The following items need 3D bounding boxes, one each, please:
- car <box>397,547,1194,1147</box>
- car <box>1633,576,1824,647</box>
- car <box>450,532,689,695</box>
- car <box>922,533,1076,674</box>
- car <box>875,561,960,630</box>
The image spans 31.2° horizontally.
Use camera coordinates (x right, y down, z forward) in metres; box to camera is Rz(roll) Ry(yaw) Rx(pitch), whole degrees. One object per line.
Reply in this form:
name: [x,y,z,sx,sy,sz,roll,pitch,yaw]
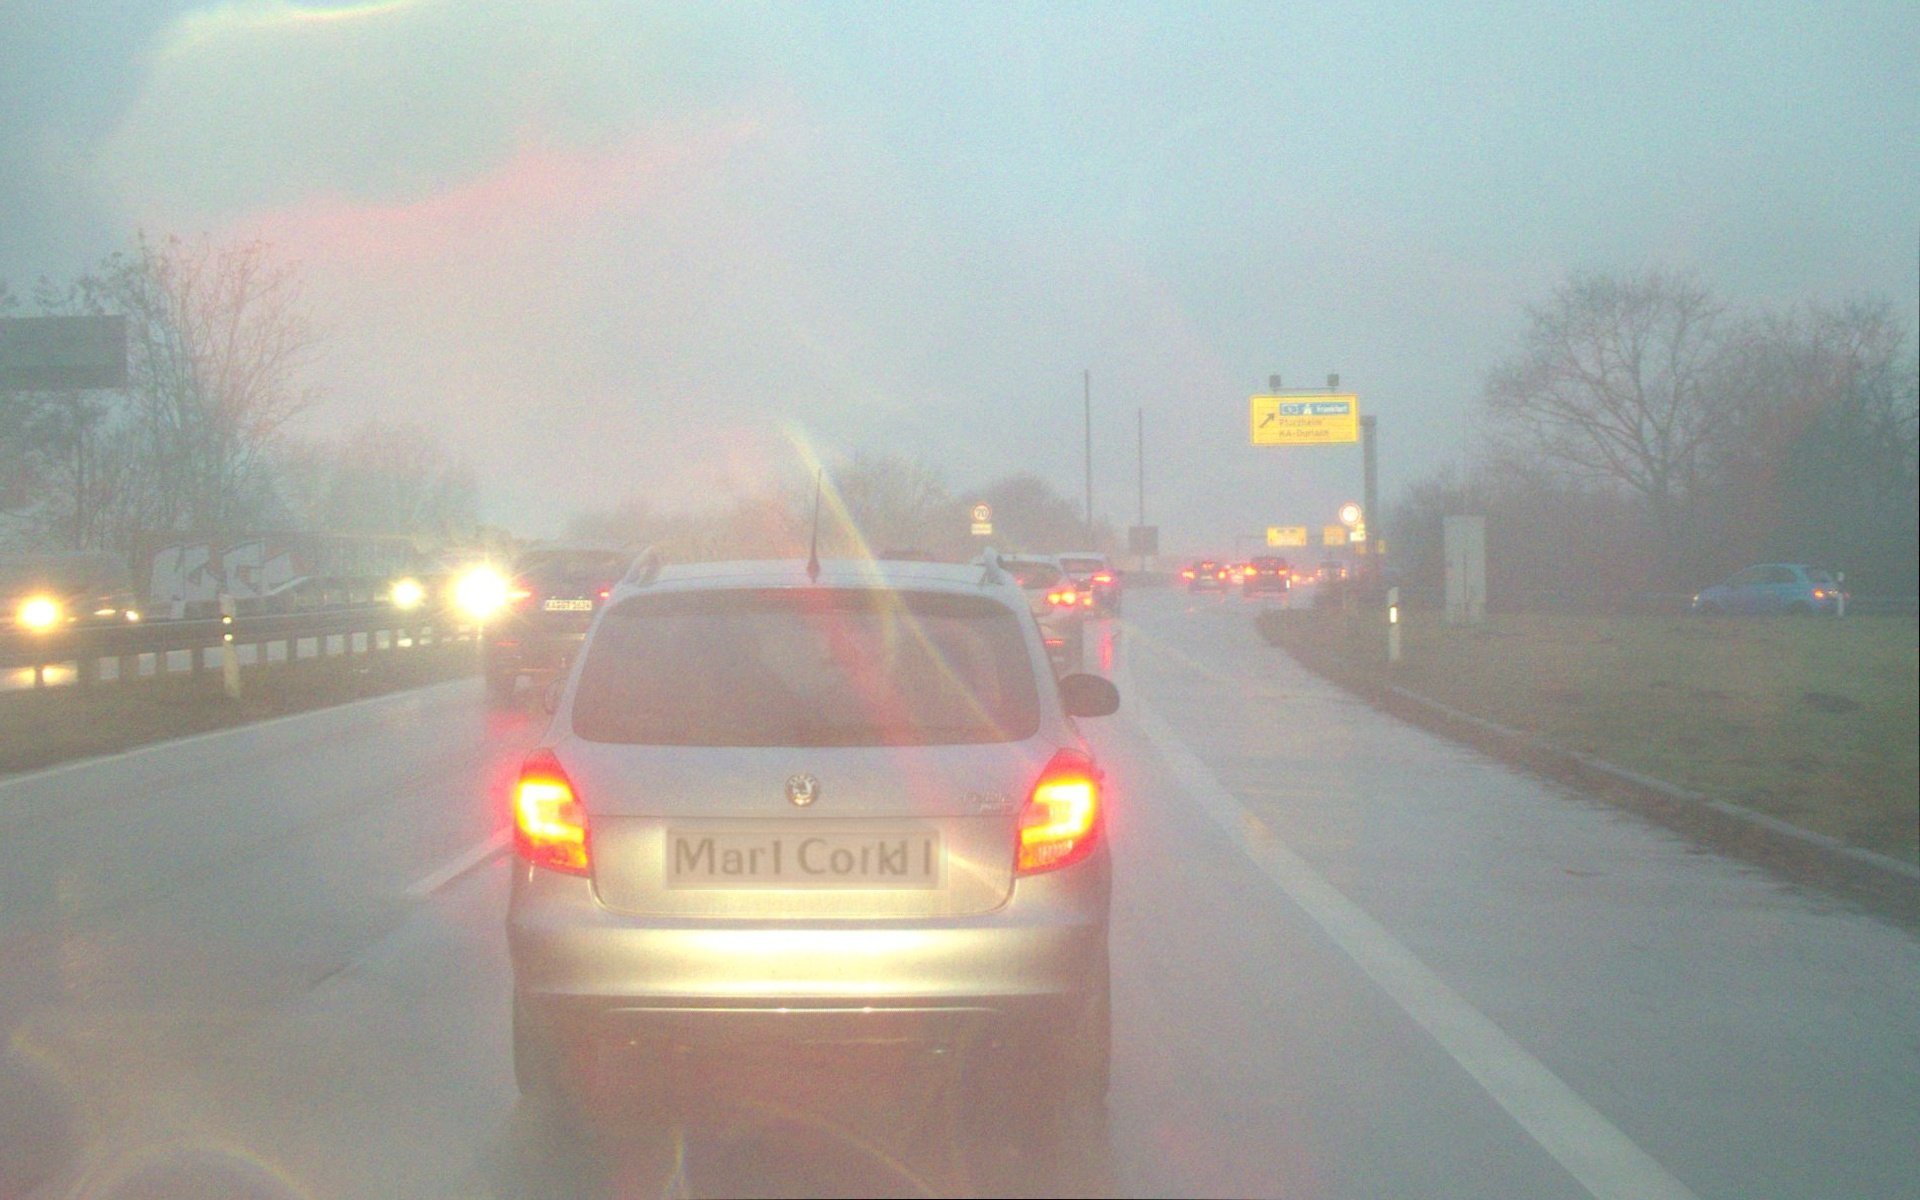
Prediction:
car: [-0.369,0.610,10.703,1.993,1.495,4.137,0,0,1]
car: [17.444,0.244,78.183,1.790,1.540,3.999,-1,1,-38]
car: [-4.110,0.106,36.794,1.993,1.596,4.308,1,1,1]
car: [0.566,0.014,45.654,1.897,1.761,4.308,-1,1,2]
car: [-0.972,-0.121,80.456,1.789,1.540,4.000,-1,1,2]
